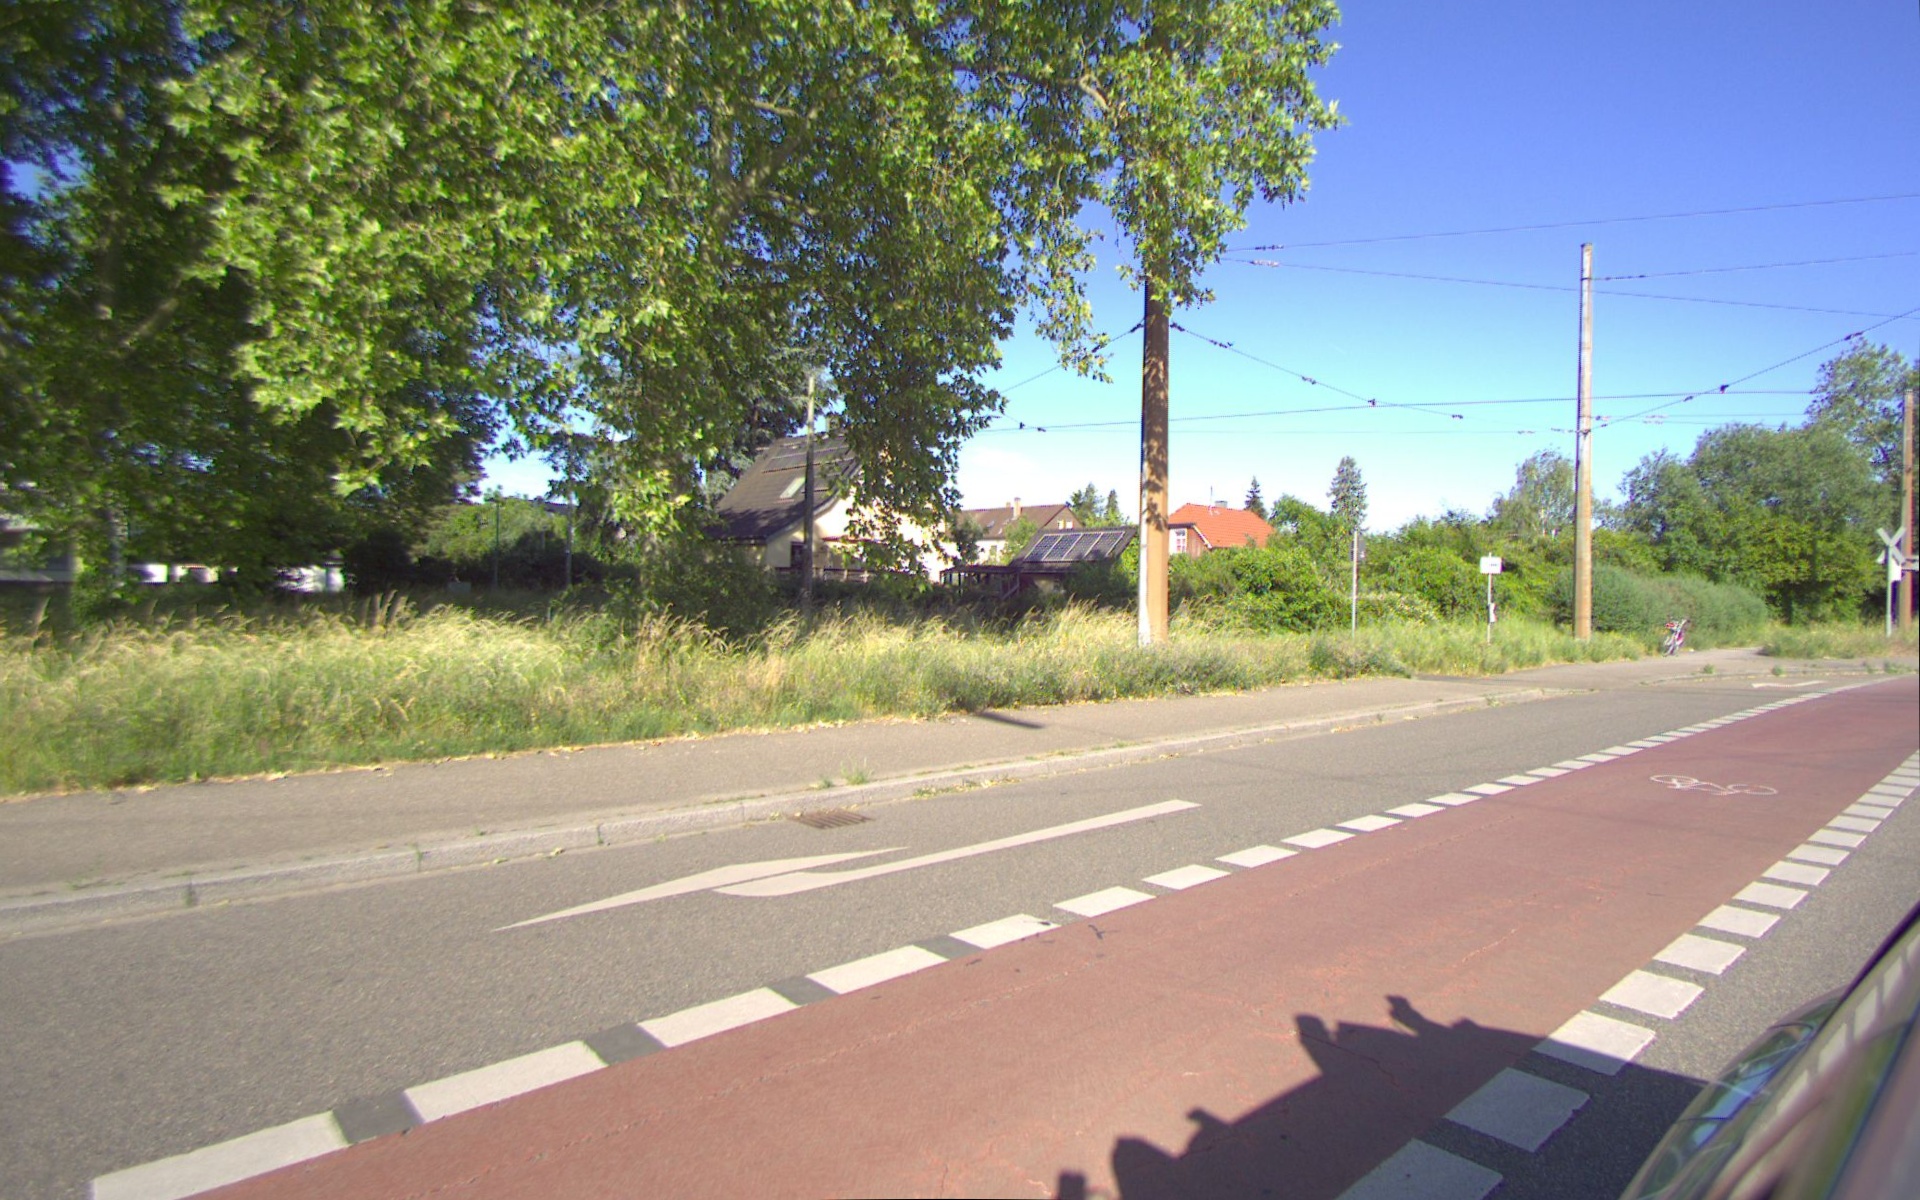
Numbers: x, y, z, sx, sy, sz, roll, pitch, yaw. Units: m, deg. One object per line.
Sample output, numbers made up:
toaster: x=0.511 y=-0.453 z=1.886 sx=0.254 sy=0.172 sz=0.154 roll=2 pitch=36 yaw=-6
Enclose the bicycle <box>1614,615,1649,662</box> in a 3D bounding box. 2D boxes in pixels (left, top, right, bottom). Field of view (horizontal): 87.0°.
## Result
bicycle: x=17.209 y=0.959 z=25.912 sx=0.365 sy=1.149 sz=2.062 roll=1 pitch=0 yaw=44
